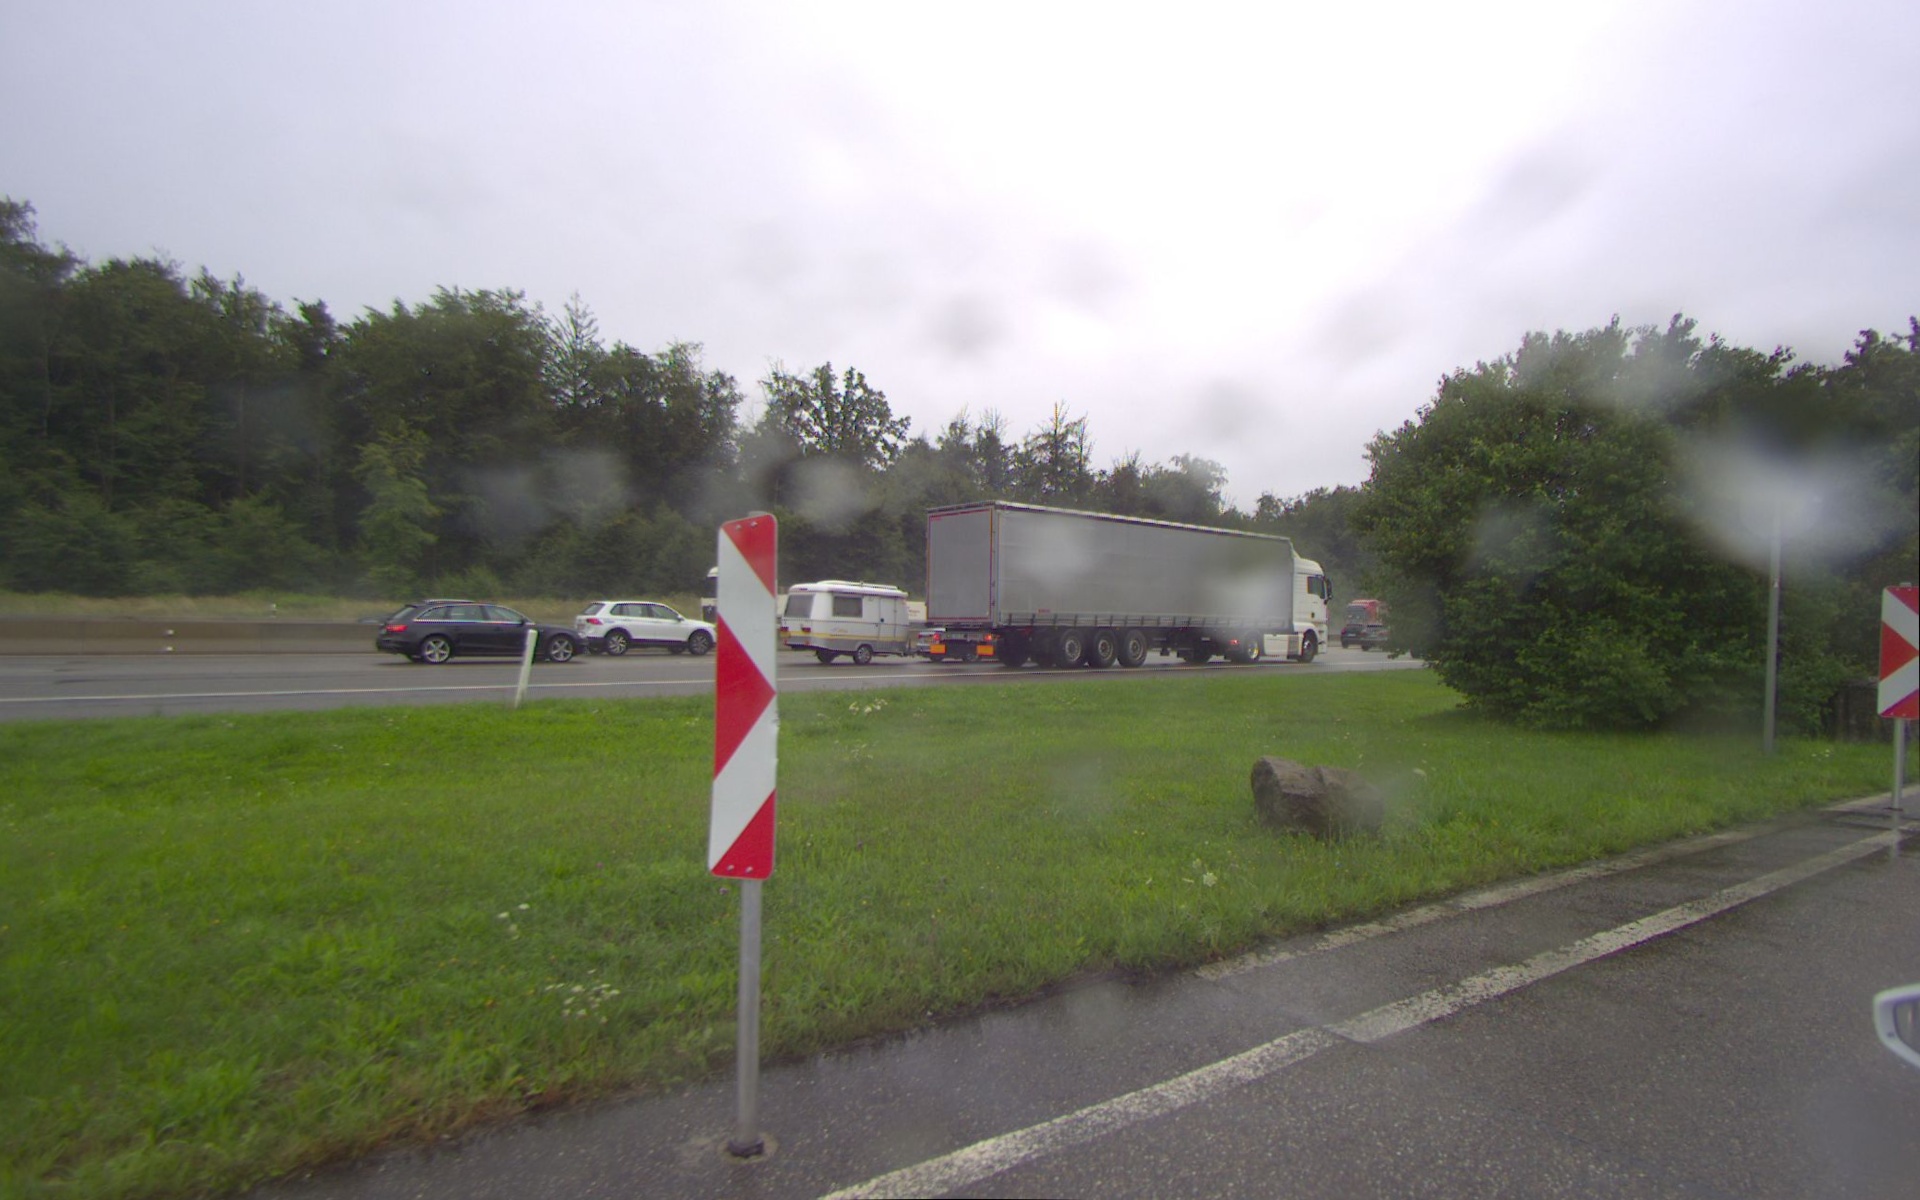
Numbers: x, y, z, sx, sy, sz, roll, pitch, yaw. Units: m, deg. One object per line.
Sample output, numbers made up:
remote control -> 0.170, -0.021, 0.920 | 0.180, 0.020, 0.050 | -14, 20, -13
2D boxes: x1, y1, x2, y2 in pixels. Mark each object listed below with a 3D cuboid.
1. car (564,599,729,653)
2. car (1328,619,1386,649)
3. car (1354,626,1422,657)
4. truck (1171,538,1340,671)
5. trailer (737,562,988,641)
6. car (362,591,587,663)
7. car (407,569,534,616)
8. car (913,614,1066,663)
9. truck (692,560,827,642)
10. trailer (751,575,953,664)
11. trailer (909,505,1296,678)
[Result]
car -> -9.662, 0.811, 31.131 | 4.491, 1.561, 1.977 | 2, -1, -40
car -> 25.050, 2.128, 63.369 | 3.968, 1.773, 1.694 | 2, 1, -41
car -> 24.221, 2.337, 56.788 | 4.427, 1.685, 1.908 | 3, -2, -42
truck -> 10.057, 0.260, 33.948 | 5.891, 4.106, 2.846 | 3, -2, -42
trailer -> -4.790, 0.079, 54.007 | 14.557, 3.730, 2.592 | 0, 3, -41
car -> -11.532, 0.674, 24.022 | 4.491, 1.560, 1.977 | 3, -2, -40
car -> -16.991, -0.314, 34.967 | 3.692, 1.383, 1.627 | -2, 8, -42
car -> 0.940, 1.152, 30.100 | 4.546, 1.366, 1.830 | 2, -2, -41
truck -> -9.835, 0.034, 49.566 | 5.945, 3.719, 2.599 | 0, 4, -41
trailer -> -2.824, 0.575, 27.103 | 5.139, 2.184, 2.111 | 2, -2, -41
trailer -> 4.858, 0.064, 29.185 | 14.015, 4.035, 2.869 | 3, -3, -42
